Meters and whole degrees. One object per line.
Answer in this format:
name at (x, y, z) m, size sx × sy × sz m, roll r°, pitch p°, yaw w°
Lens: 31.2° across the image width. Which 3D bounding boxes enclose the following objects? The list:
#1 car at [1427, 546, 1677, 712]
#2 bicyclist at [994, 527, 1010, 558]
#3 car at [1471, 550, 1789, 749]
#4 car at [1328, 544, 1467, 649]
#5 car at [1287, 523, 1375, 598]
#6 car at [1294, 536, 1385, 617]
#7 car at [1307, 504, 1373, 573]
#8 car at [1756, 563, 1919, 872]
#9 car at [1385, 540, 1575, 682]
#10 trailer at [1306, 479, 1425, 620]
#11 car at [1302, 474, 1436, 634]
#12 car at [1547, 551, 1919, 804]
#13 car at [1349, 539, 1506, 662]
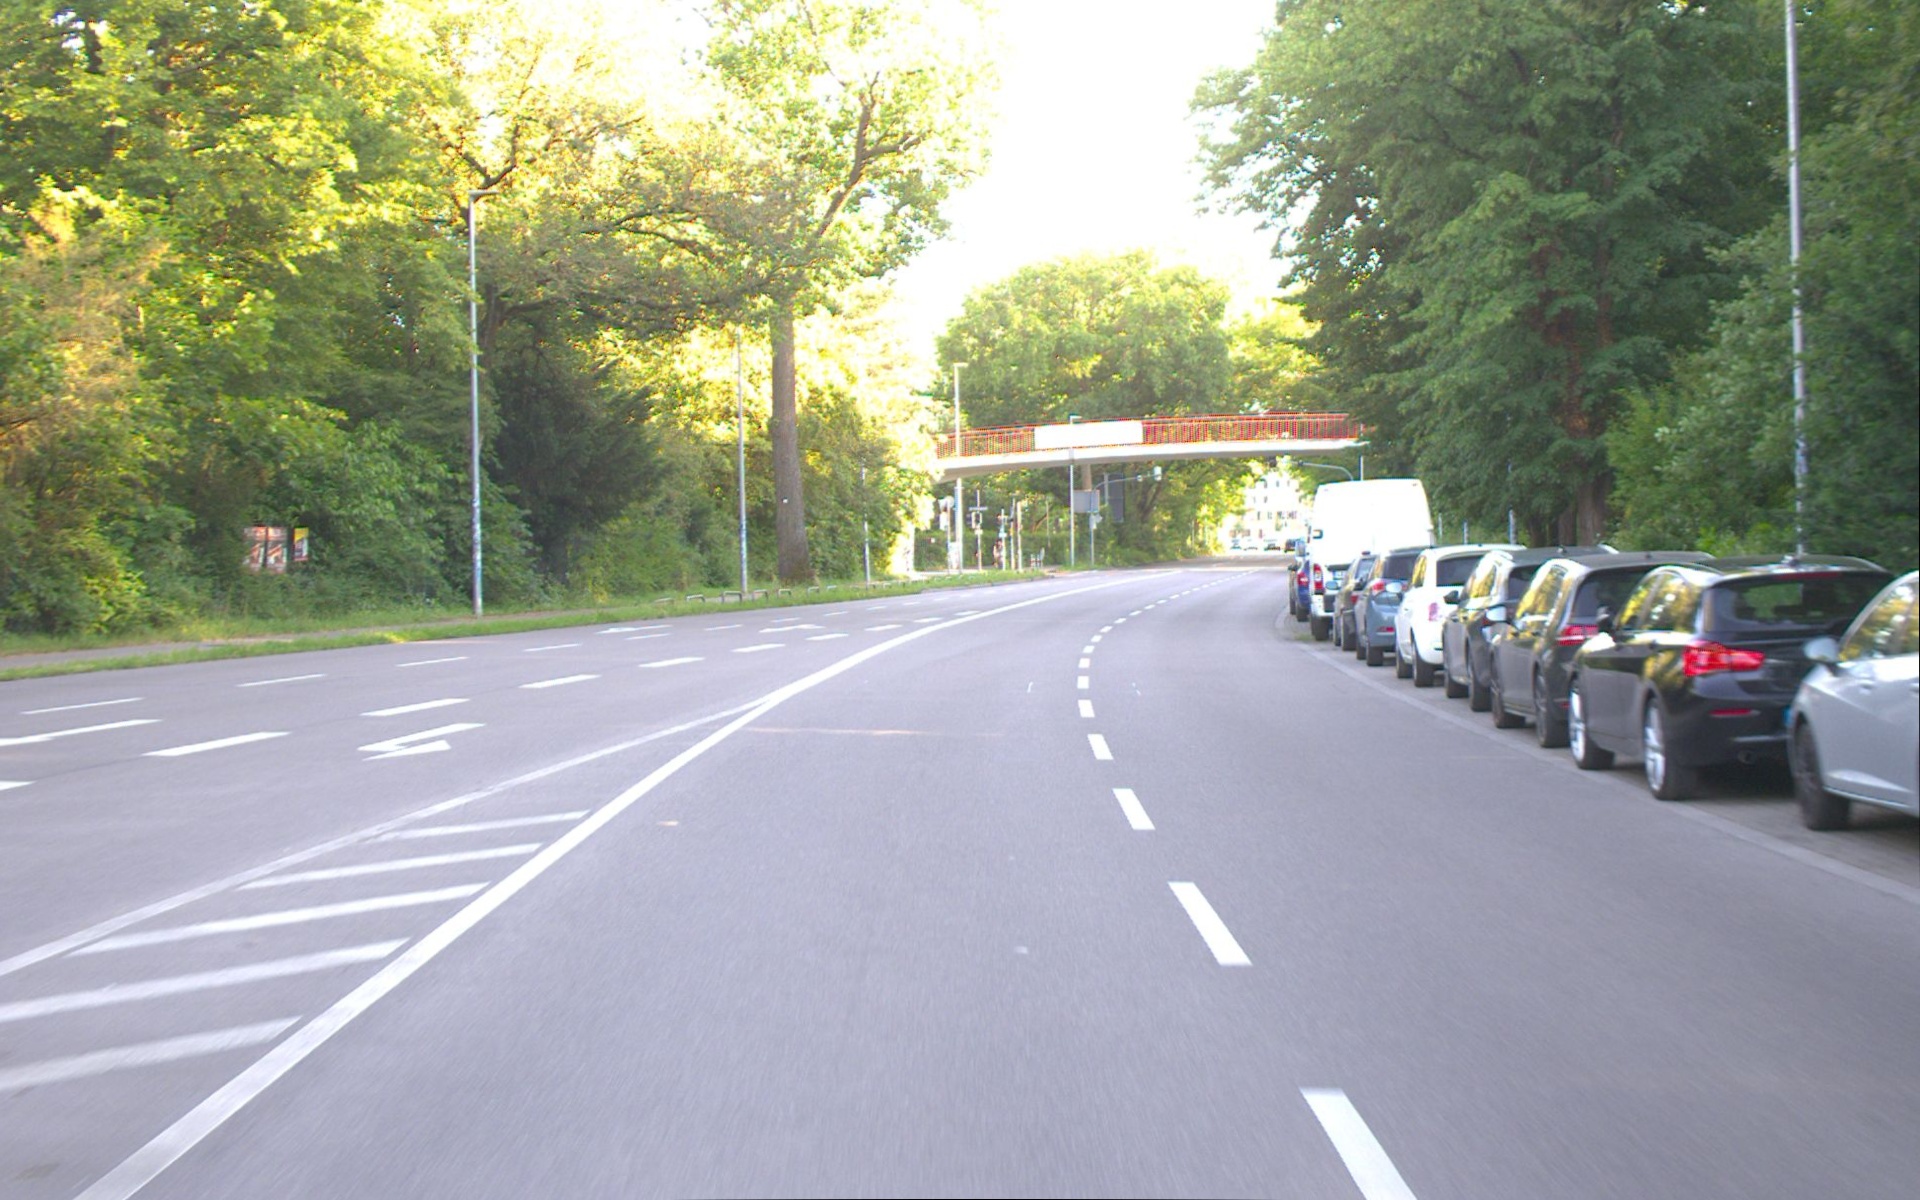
car at (5.550, 0.219, 32.751) m, size 1.718 × 1.407 × 4.906 m, roll -2°, pitch 1°, yaw 3°
bicyclist at (2.107, -2.885, 172.780) m, size 0.712 × 1.553 × 1.142 m, roll 0°, pitch 0°, yaw 6°
car at (5.232, 0.330, 27.390) m, size 1.718 × 1.407 × 4.487 m, roll -2°, pitch 1°, yaw 1°
car at (6.282, -0.081, 49.760) m, size 1.677 × 1.396 × 4.650 m, roll -2°, pitch 1°, yaw 4°
car at (8.007, -0.869, 74.504) m, size 1.759 × 1.530 × 4.988 m, roll -2°, pitch 1°, yaw 5°
car at (7.556, -0.492, 68.756) m, size 1.678 × 1.530 × 4.352 m, roll -2°, pitch 1°, yaw 5°
car at (11.455, -1.849, 103.466) m, size 1.869 × 1.974 × 5.473 m, roll -2°, pitch 1°, yaw 7°
car at (5.310, 0.524, 17.059) m, size 1.718 × 1.407 × 4.124 m, roll -2°, pitch 1°, yaw 0°
car at (5.733, 0.090, 38.222) m, size 1.677 × 1.459 × 3.689 m, roll -2°, pitch 1°, yaw 3°
trailer at (7.328, -0.918, 62.557) m, size 1.904 × 2.415 × 5.126 m, roll -2°, pitch 1°, yaw 5°
car at (6.586, -0.750, 55.814) m, size 1.904 × 2.415 × 5.575 m, roll -2°, pitch 1°, yaw 5°
car at (5.022, 0.416, 22.005) m, size 1.718 × 1.407 × 4.488 m, roll -2°, pitch 1°, yaw 0°
car at (5.940, -0.027, 44.024) m, size 1.677 × 1.459 × 4.066 m, roll -2°, pitch 1°, yaw 4°
